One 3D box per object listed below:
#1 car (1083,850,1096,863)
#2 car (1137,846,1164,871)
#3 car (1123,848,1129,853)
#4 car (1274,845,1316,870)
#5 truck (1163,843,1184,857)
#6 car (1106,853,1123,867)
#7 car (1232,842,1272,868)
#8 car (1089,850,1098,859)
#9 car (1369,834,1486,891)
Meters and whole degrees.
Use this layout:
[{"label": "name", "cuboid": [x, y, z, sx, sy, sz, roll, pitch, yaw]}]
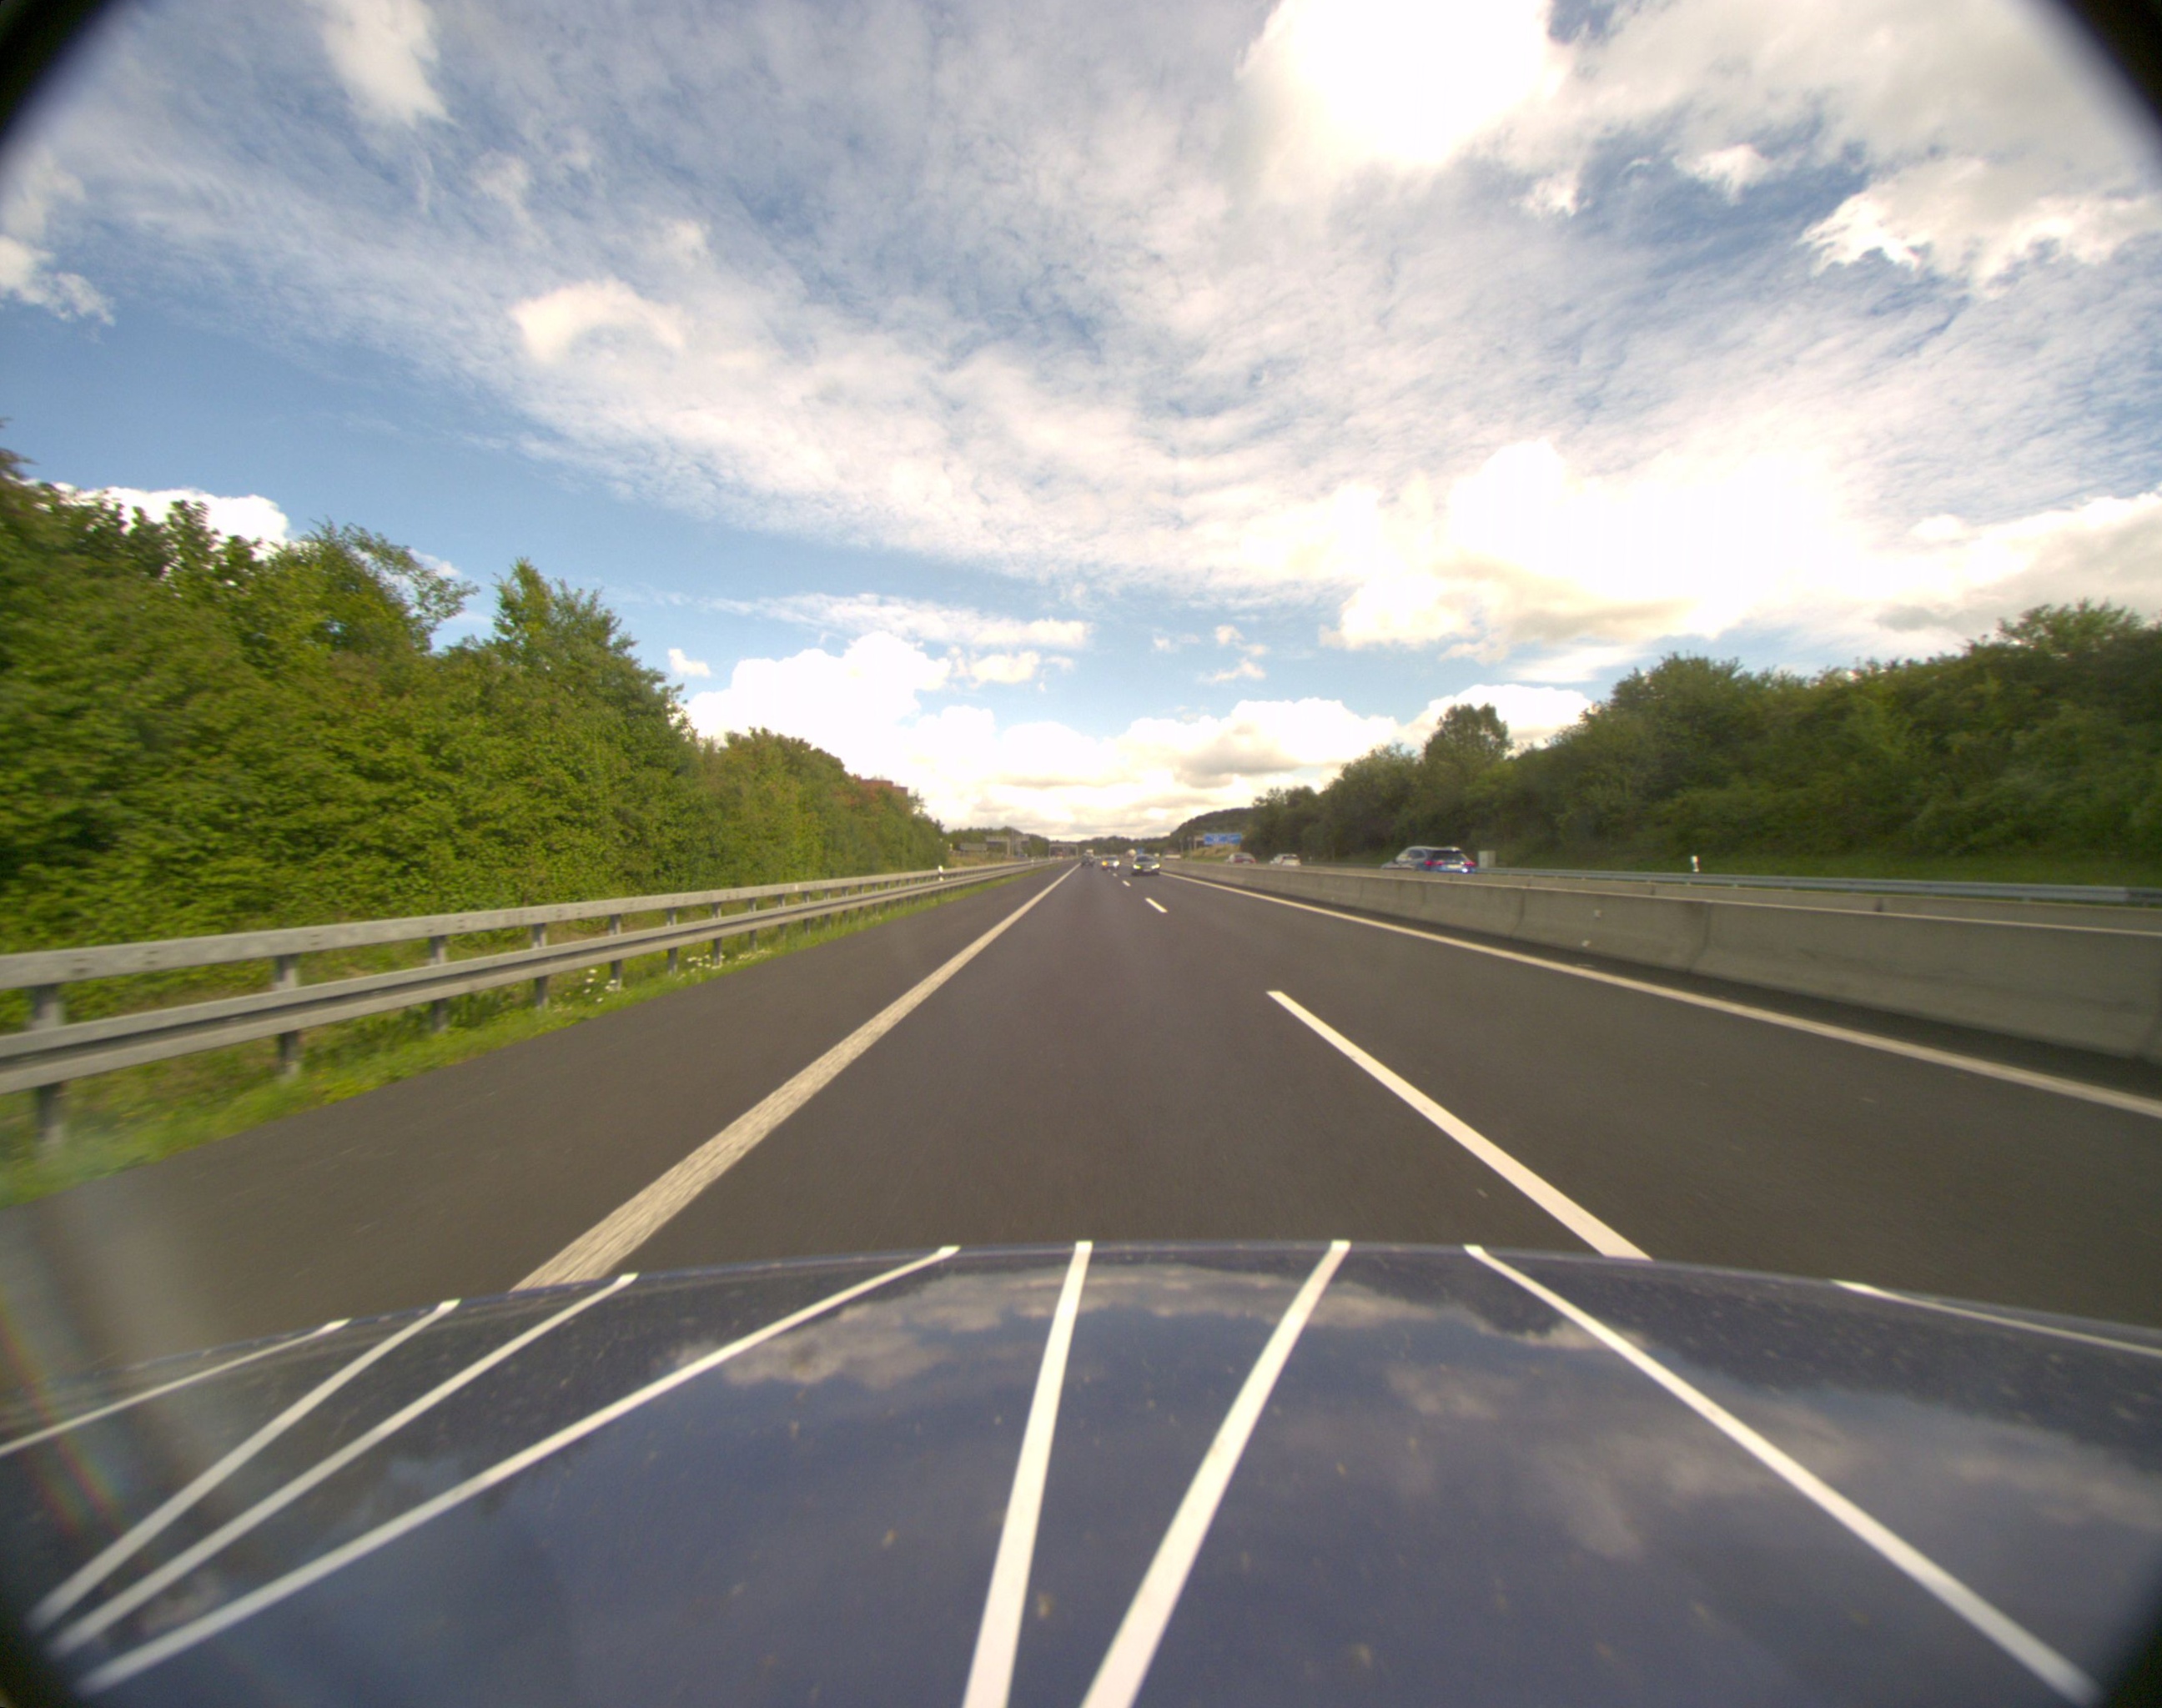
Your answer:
[{"label": "car", "cuboid": [1.188, 0.350, 102.598, 1.670, 1.722, 4.207, -1, 0, 3]}, {"label": "car", "cuboid": [4.964, 0.324, 54.711, 1.724, 1.722, 3.939, -1, 0, 3]}, {"label": "car", "cuboid": [15.190, -1.171, 255.718, 1.998, 1.707, 4.000, 0, 0, 1]}, {"label": "car", "cuboid": [16.974, 0.266, 60.436, 1.998, 1.885, 4.822, 0, 0, 1]}, {"label": "truck", "cuboid": [13.909, -0.629, 114.424, 2.382, 2.002, 7.436, 0, 0, 1]}, {"label": "car", "cuboid": [3.497, 0.593, 80.136, 1.724, 1.406, 3.939, -1, 0, 3]}, {"label": "car", "cuboid": [13.117, 0.062, 58.513, 1.998, 1.885, 4.822, 0, 0, 1]}, {"label": "car", "cuboid": [2.428, 0.066, 147.702, 1.670, 1.722, 4.207, -1, 0, 1]}, {"label": "car", "cuboid": [12.531, 0.269, 27.938, 1.998, 1.885, 5.140, 0, 0, 1]}]
